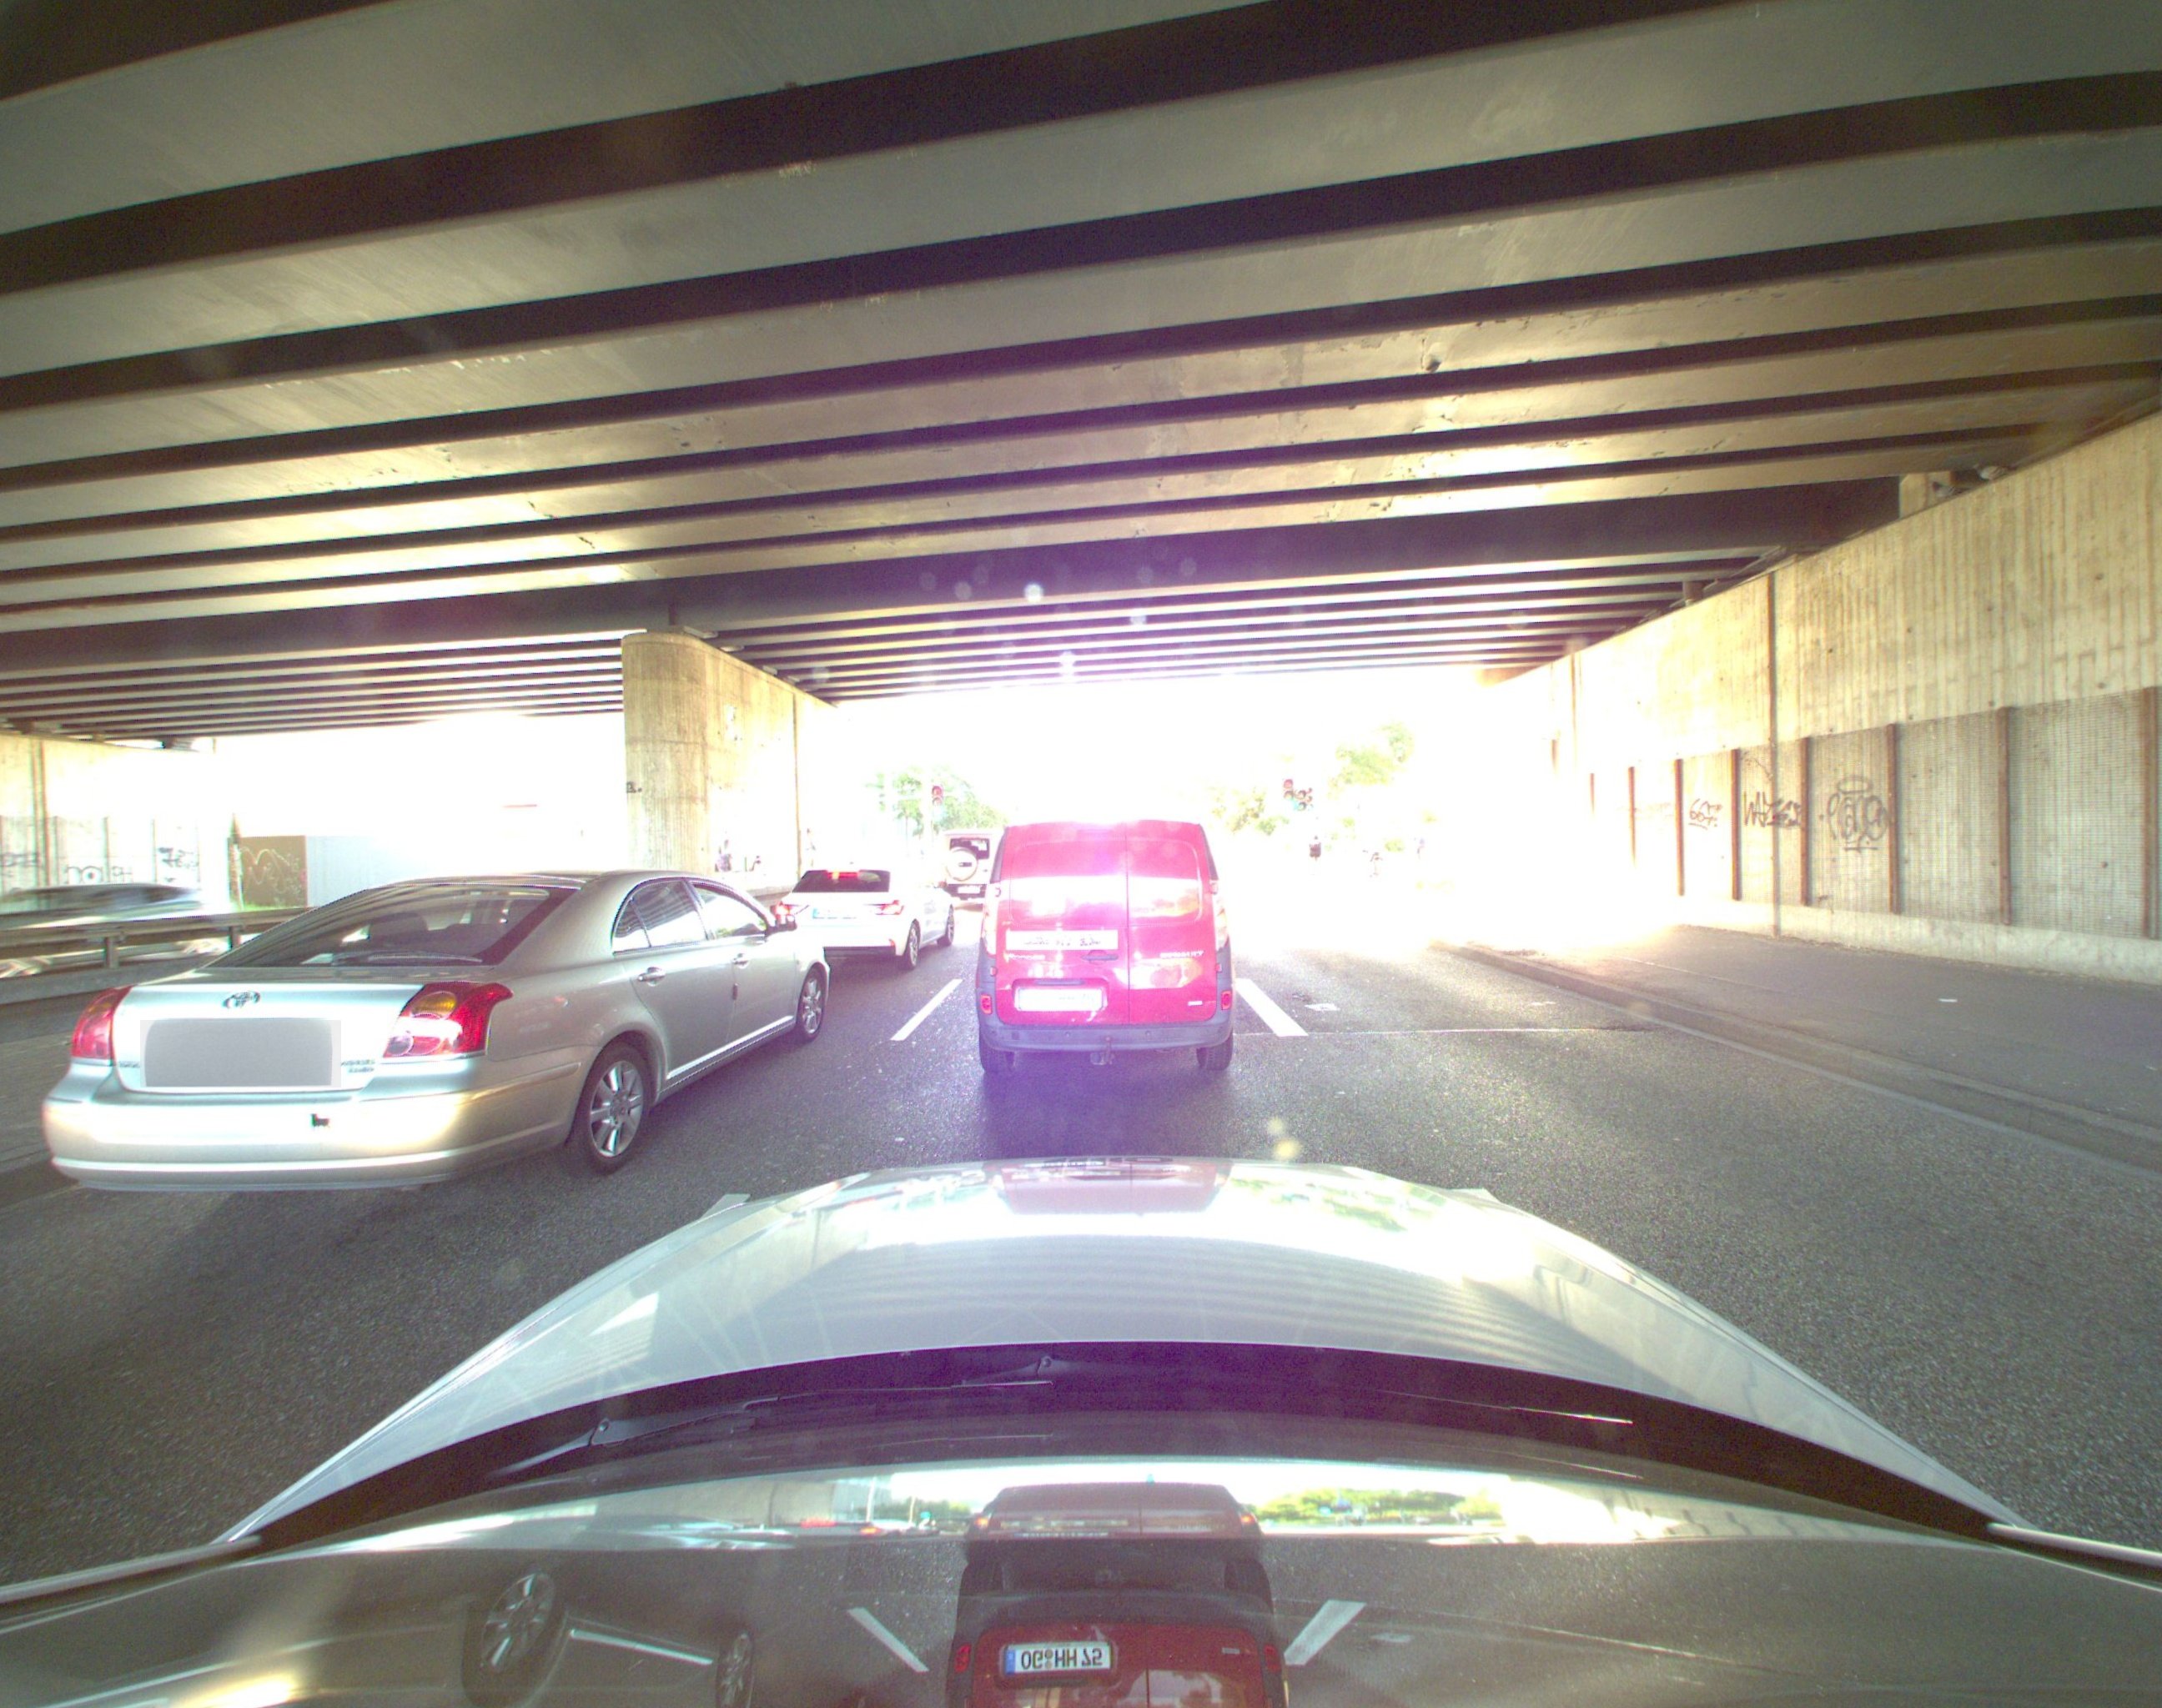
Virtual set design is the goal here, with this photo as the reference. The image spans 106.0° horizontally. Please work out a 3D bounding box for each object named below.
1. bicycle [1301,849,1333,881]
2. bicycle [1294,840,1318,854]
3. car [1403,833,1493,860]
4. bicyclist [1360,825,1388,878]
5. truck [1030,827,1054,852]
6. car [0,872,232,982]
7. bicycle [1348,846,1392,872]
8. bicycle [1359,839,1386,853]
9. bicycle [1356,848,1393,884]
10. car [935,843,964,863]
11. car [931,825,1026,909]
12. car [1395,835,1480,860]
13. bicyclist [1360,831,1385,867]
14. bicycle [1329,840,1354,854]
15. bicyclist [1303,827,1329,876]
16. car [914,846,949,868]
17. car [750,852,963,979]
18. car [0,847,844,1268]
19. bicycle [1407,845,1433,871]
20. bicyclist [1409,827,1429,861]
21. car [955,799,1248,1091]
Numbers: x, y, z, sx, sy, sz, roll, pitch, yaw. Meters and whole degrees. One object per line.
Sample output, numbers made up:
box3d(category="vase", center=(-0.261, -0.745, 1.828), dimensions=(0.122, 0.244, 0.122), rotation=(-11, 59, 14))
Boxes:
box3d(category="bicycle", center=(7.902, 0.359, 27.317), dimensions=(0.590, 1.023, 1.750), rotation=(0, -1, 0))
box3d(category="bicycle", center=(17.182, -0.504, 62.161), dimensions=(1.734, 1.023, 0.595), rotation=(-1, -1, 10))
box3d(category="car", center=(21.638, -0.413, 48.175), dimensions=(4.521, 1.514, 1.832), rotation=(0, -1, 9))
box3d(category="bicyclist", center=(8.781, -0.063, 24.430), dimensions=(0.589, 1.548, 0.770), rotation=(0, -1, 5))
box3d(category="truck", center=(-5.180, -1.934, 108.541), dimensions=(2.399, 3.026, 6.661), rotation=(-4, 0, 3))
box3d(category="car", center=(-16.916, 1.148, 13.490), dimensions=(1.613, 1.519, 3.825), rotation=(-2, 1, 0))
box3d(category="bicycle", center=(11.937, 0.211, 33.715), dimensions=(0.672, 1.023, 2.045), rotation=(0, -1, -15))
box3d(category="bicycle", center=(21.301, -0.581, 59.523), dimensions=(1.733, 1.023, 0.596), rotation=(-1, -1, 13))
box3d(category="bicycle", center=(8.800, 0.357, 24.477), dimensions=(0.589, 1.023, 1.753), rotation=(0, -1, 5))
box3d(category="car", center=(-12.760, -0.105, 79.180), dimensions=(1.818, 1.737, 4.532), rotation=(-4, 0, 2))
box3d(category="car", center=(-2.599, 0.329, 21.677), dimensions=(1.794, 1.989, 4.591), rotation=(0, -1, 2))
box3d(category="car", center=(22.180, -0.396, 50.841), dimensions=(4.521, 1.514, 1.832), rotation=(0, -1, 9))
box3d(category="bicyclist", center=(11.987, -0.205, 33.503), dimensions=(0.666, 1.474, 0.747), rotation=(0, -1, -15))
box3d(category="bicycle", center=(19.414, -0.532, 60.719), dimensions=(1.734, 1.023, 0.595), rotation=(-1, -1, 10))
box3d(category="bicyclist", center=(7.884, -0.087, 27.320), dimensions=(0.590, 1.613, 0.942), rotation=(0, -1, 0))
box3d(category="car", center=(-13.201, 0.247, 72.139), dimensions=(1.817, 1.737, 4.634), rotation=(-4, 0, 4))
box3d(category="car", center=(-2.949, 0.729, 11.563), dimensions=(1.806, 1.438, 3.734), rotation=(-1, 1, 3))
box3d(category="car", center=(-3.012, 0.733, 5.099), dimensions=(1.727, 1.480, 4.319), rotation=(-1, 0, 0))
box3d(category="bicycle", center=(14.668, 0.151, 35.304), dimensions=(0.663, 1.023, 1.755), rotation=(-1, 2, 9))
box3d(category="bicyclist", center=(14.651, -0.430, 35.292), dimensions=(0.645, 1.480, 0.620), rotation=(-1, 1, 9))
box3d(category="car", center=(0.187, 0.579, 7.040), dimensions=(1.798, 1.794, 4.001), rotation=(0, -1, 2))
